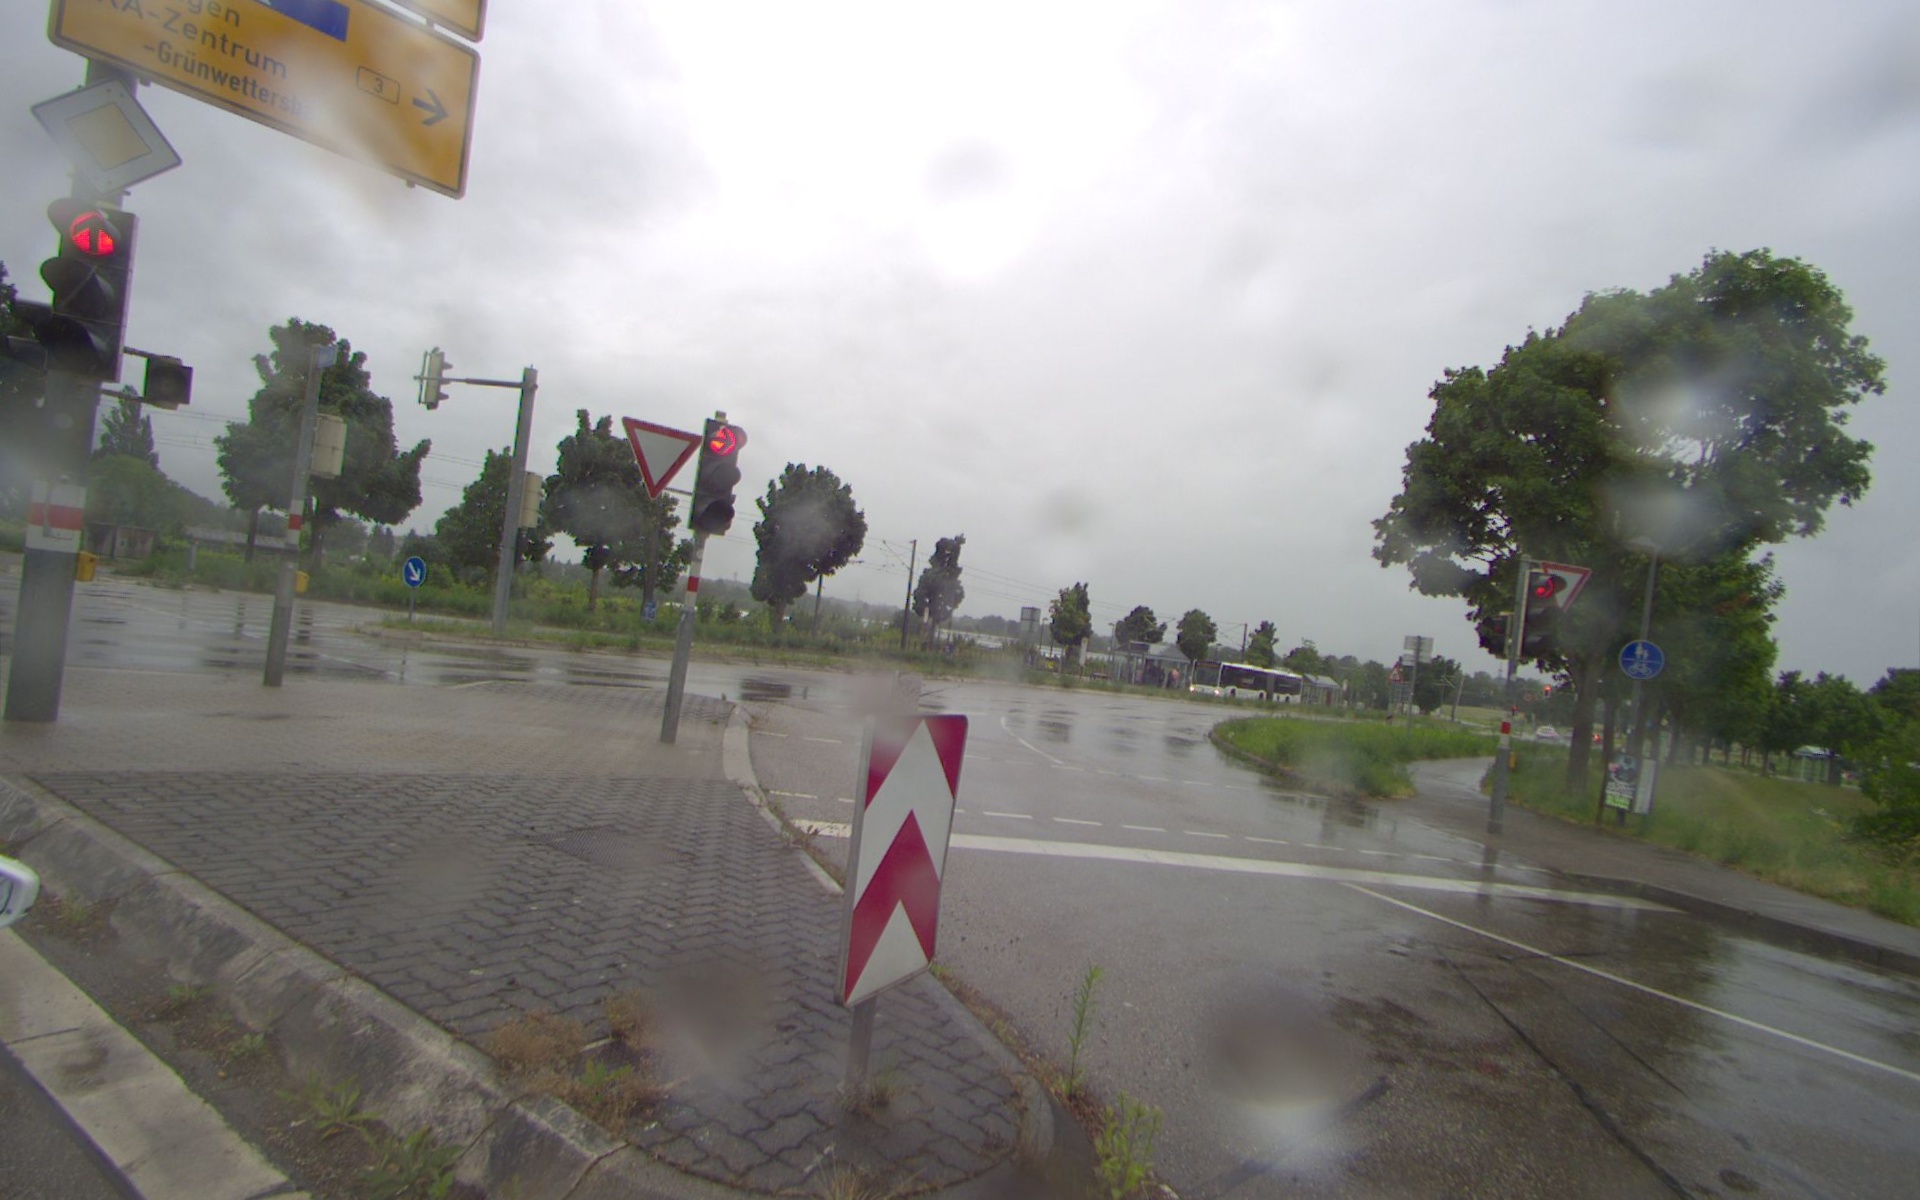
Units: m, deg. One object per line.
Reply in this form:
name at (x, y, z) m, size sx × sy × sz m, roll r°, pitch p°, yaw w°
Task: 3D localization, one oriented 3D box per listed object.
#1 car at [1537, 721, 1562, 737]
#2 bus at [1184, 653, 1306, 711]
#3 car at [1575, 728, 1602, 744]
car at (62.217, 13.640, 106.196) m, size 1.850 × 1.370 × 4.041 m, roll 7°, pitch -1°, yaw 36°
bus at (24.304, 7.061, 84.313) m, size 2.715 × 3.828 × 18.378 m, roll 7°, pitch -2°, yaw 38°
car at (67.015, 14.445, 107.284) m, size 1.853 × 1.370 × 4.036 m, roll 6°, pitch -2°, yaw 40°
